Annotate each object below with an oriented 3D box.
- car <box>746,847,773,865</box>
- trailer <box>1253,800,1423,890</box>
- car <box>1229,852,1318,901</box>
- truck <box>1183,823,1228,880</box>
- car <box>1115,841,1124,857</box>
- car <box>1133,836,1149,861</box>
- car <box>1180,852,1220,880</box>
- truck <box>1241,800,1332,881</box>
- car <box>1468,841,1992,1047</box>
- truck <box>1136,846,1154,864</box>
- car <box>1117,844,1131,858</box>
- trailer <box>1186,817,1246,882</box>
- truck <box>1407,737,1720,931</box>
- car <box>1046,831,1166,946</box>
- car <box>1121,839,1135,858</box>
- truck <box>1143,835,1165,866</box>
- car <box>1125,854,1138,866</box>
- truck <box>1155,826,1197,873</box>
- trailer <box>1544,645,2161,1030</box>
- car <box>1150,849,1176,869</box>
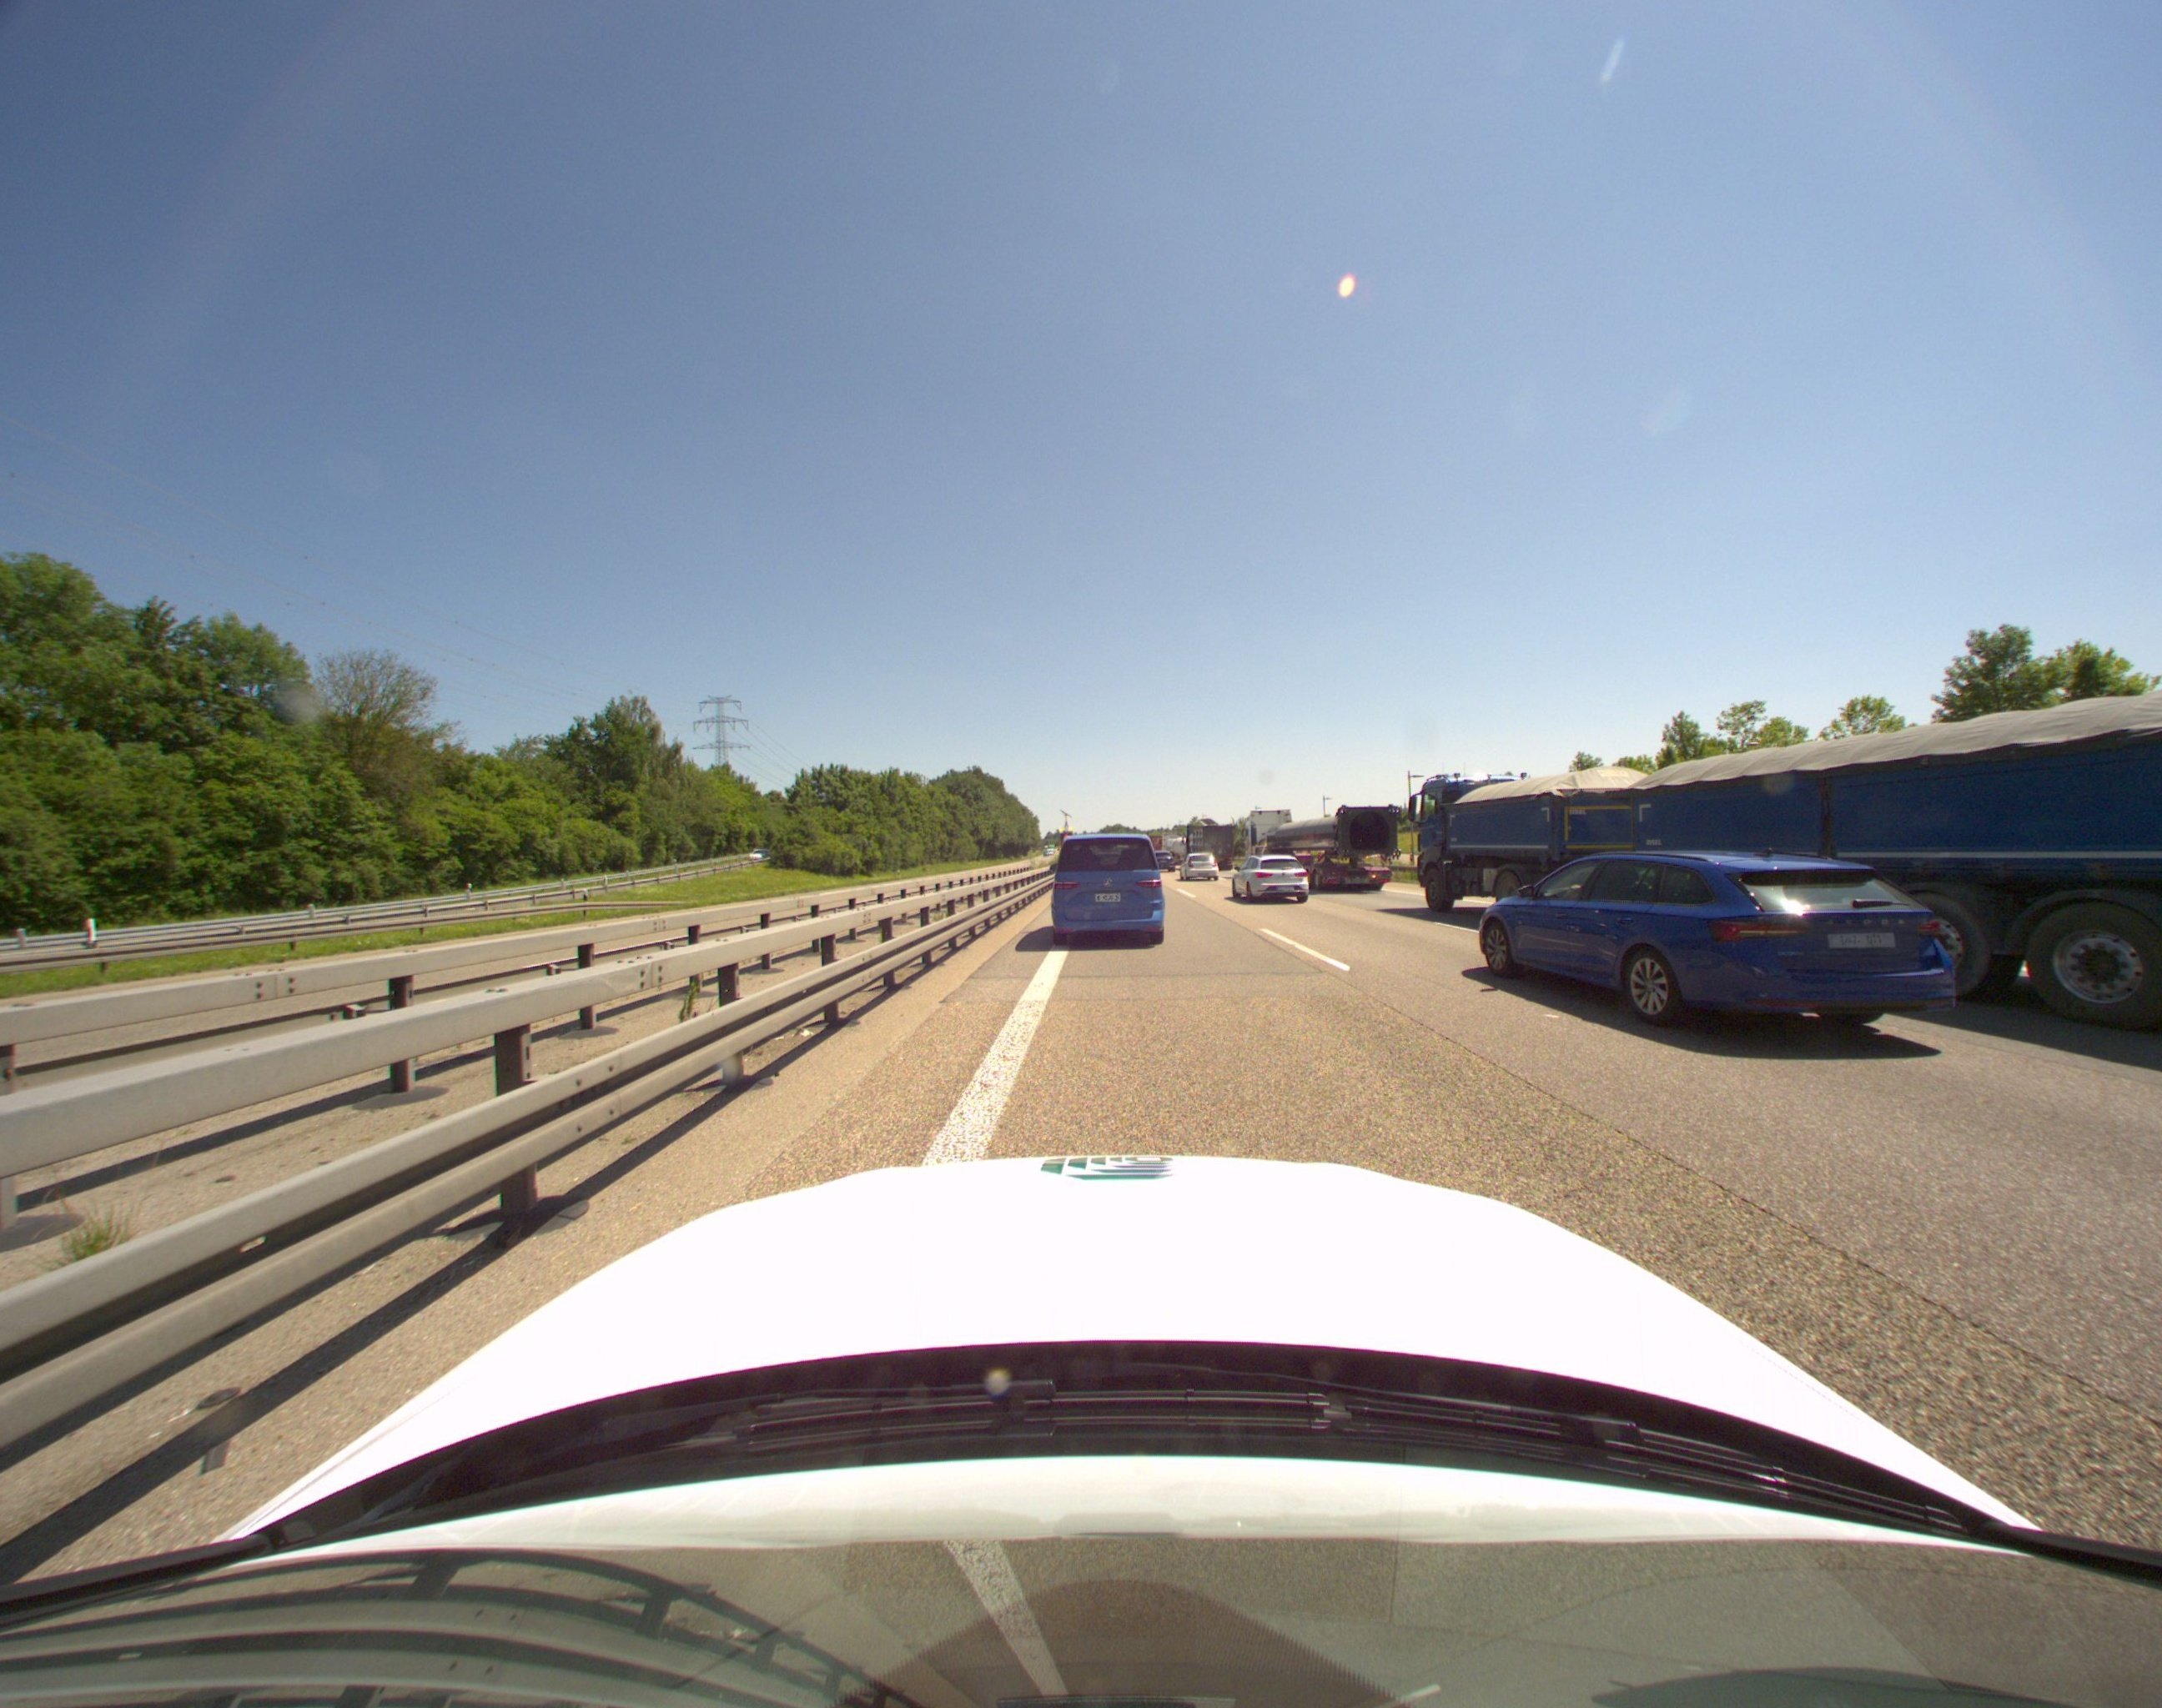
[{"bbox_3d":[-36.925,0.209,93.614,1.632,1.673,4.892,0,3,-7],"label":"car"},{"bbox_3d":[10.593,-0.199,36.211,3.630,3.079,15.788,0,-1,4],"label":"trailer"},{"bbox_3d":[5.844,0.642,25.189,1.861,1.361,4.000,0,0,0],"label":"car"},{"bbox_3d":[11.734,-0.186,77.137,3.644,5.180,5.712,0,-1,3],"label":"truck"},{"bbox_3d":[12.102,-1.455,257.499,2.706,4.713,11.563,0,-1,2],"label":"car"},{"bbox_3d":[12.905,-1.192,175.738,3.206,5.257,8.147,0,-1,2],"label":"car"},{"bbox_3d":[6.467,0.643,44.755,1.833,1.454,4.003,0,-1,3],"label":"car"},{"bbox_3d":[11.236,-0.637,45.382,3.610,4.095,7.532,0,-1,4],"label":"truck"},{"bbox_3d":[5.607,0.662,7.940,1.699,1.441,4.430,0,-1,2],"label":"car"},{"bbox_3d":[6.660,0.159,85.050,1.719,1.857,4.001,0,-1,1],"label":"truck"},{"bbox_3d":[8.664,-0.488,164.948,2.541,2.717,5.623,0,-1,1],"label":"car"},{"bbox_3d":[11.438,-0.273,70.571,3.631,5.136,13.085,0,-1,3],"label":"trailer"},{"bbox_3d":[9.737,-0.354,17.590,2.733,3.311,7.136,0,0,2],"label":"truck"},{"bbox_3d":[0.510,0.580,15.001,1.893,1.838,4.003,0,-1,3],"label":"car"},{"bbox_3d":[13.184,-1.459,226.931,3.210,5.257,8.138,0,-1,-2],"label":"car"},{"bbox_3d":[12.134,-0.527,136.371,3.057,4.920,10.693,0,-1,2],"label":"truck"},{"bbox_3d":[8.561,0.980,137.460,1.986,2.014,4.001,0,-1,1],"label":"car"},{"bbox_3d":[11.348,-0.424,99.056,3.608,5.213,15.691,0,-1,1],"label":"truck"},{"bbox_3d":[9.469,-0.118,9.913,2.733,2.836,9.119,0,0,2],"label":"trailer"},{"bbox_3d":[6.471,0.437,64.622,1.774,1.524,4.001,0,-1,1],"label":"car"}]
